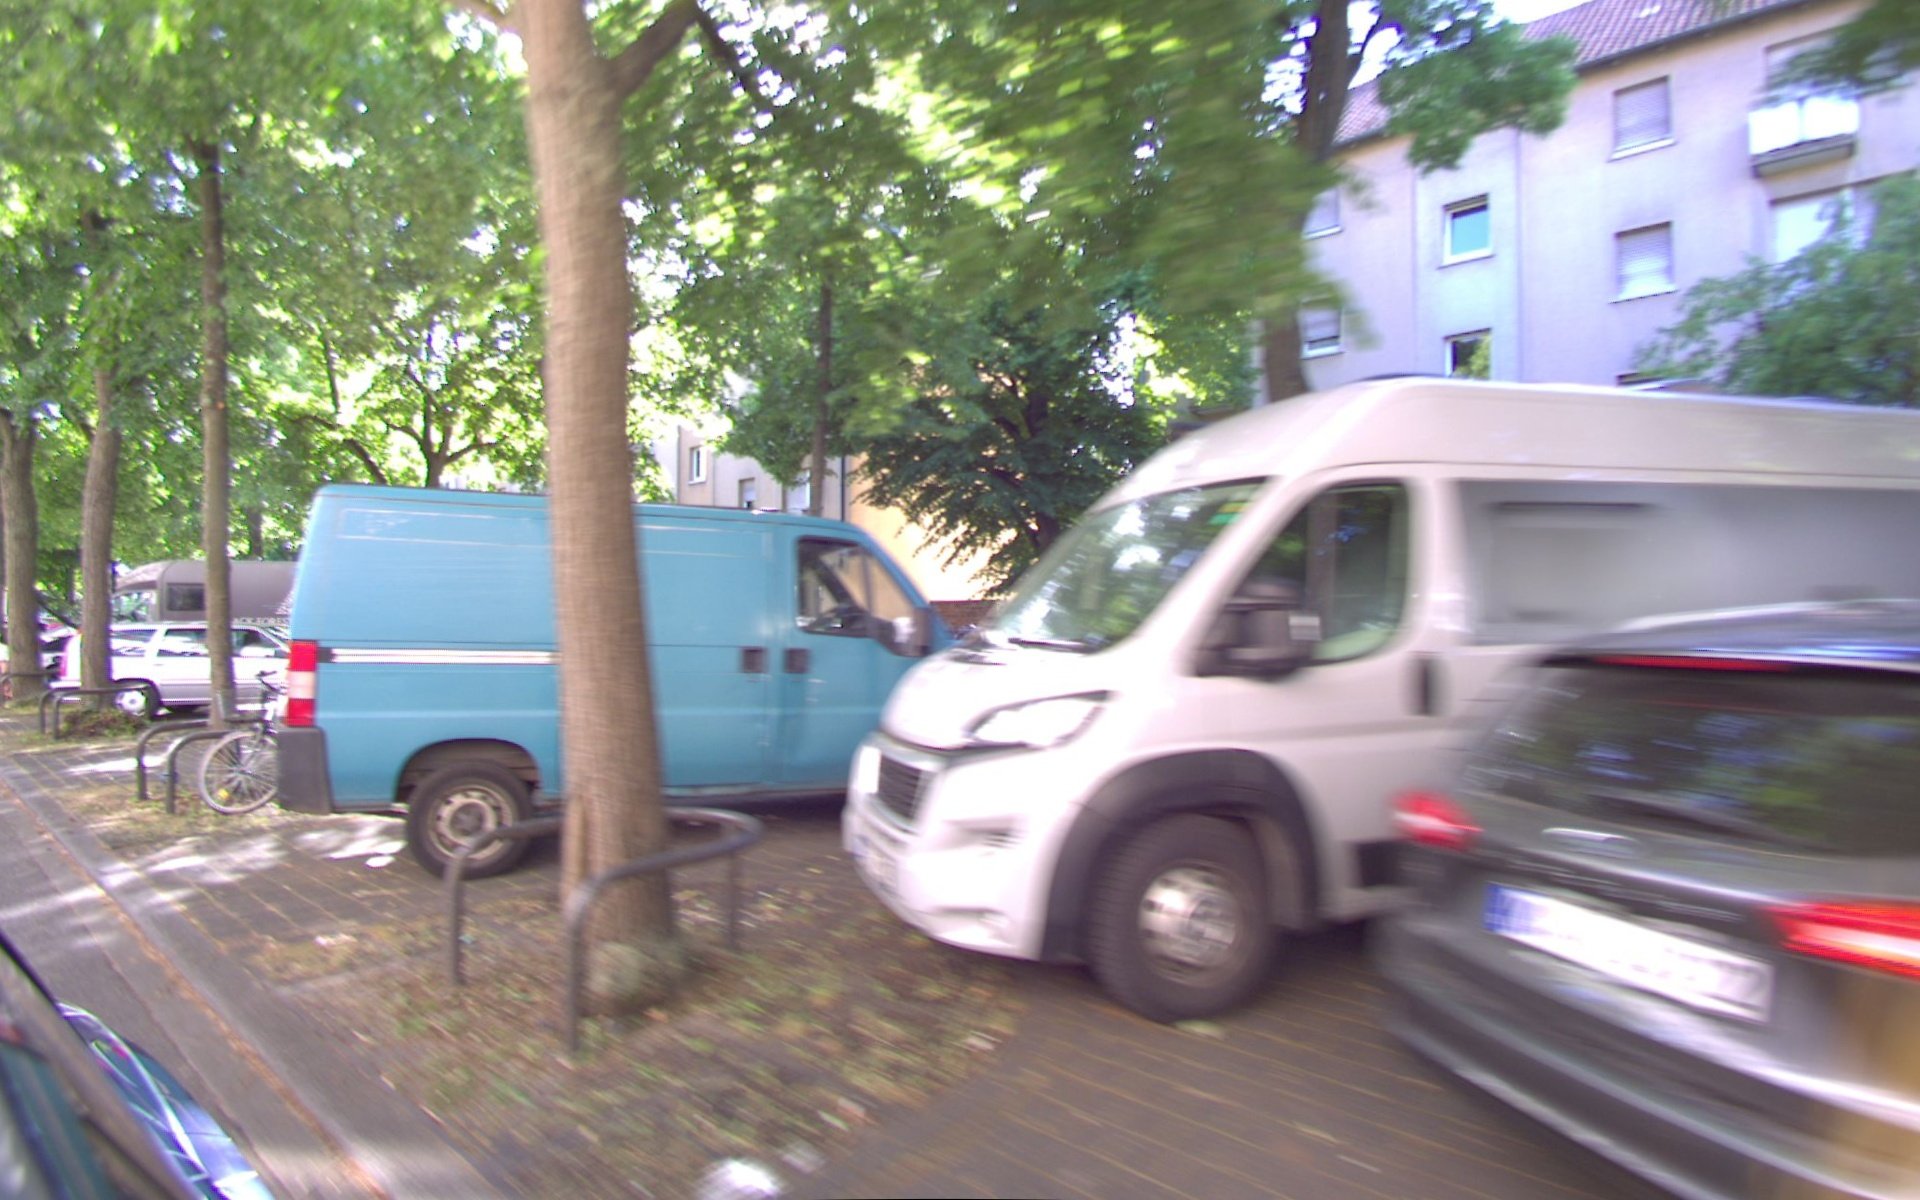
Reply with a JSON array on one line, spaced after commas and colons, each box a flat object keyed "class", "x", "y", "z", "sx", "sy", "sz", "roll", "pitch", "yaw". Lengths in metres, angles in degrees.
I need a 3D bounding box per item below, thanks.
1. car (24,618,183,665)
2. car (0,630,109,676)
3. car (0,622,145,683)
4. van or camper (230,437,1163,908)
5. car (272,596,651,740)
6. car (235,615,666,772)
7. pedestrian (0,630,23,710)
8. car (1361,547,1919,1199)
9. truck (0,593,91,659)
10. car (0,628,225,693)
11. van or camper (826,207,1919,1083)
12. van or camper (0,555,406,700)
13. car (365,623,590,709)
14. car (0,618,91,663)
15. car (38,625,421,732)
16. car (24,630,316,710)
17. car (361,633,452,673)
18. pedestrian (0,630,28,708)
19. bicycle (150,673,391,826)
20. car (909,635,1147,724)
[{"class": "car", "x": -35.129, "y": 1.707, "z": 41.659, "sx": 4.526, "sy": 1.846, "sz": 2.025, "roll": 1, "pitch": -2, "yaw": -19}, {"class": "car", "x": -31.744, "y": 1.782, "z": 34.104, "sx": 4.349, "sy": 1.473, "sz": 1.721, "roll": 0, "pitch": -1, "yaw": -15}, {"class": "car", "x": -26.811, "y": 1.523, "z": 29.748, "sx": 4.075, "sy": 1.692, "sz": 1.765, "roll": 0, "pitch": -2, "yaw": -19}, {"class": "van or camper", "x": -1.505, "y": 0.414, "z": 7.050, "sx": 5.420, "sy": 2.293, "sz": 2.228, "roll": 1, "pitch": -2, "yaw": -24}, {"class": "car", "x": -6.664, "y": 0.868, "z": 14.100, "sx": 4.482, "sy": 1.777, "sz": 1.816, "roll": 0, "pitch": -2, "yaw": -18}, {"class": "car", "x": -5.295, "y": 0.916, "z": 11.048, "sx": 3.888, "sy": 1.454, "sz": 1.852, "roll": 0, "pitch": -2, "yaw": -20}, {"class": "pedestrian", "x": -17.884, "y": 1.283, "z": 18.741, "sx": 0.606, "sy": 1.467, "sz": 0.521, "roll": 1, "pitch": -2, "yaw": -25}, {"class": "car", "x": 3.170, "y": 0.648, "z": 2.376, "sx": 3.897, "sy": 1.425, "sz": 1.829, "roll": 0, "pitch": -2, "yaw": -20}, {"class": "truck", "x": -49.792, "y": 1.353, "z": 52.102, "sx": 7.200, "sy": 3.319, "sz": 2.554, "roll": 0, "pitch": -2, "yaw": -16}, {"class": "car", "x": -20.948, "y": 1.468, "z": 25.169, "sx": 3.931, "sy": 1.519, "sz": 1.763, "roll": 1, "pitch": -2, "yaw": -19}, {"class": "van or camper", "x": 2.417, "y": 0.179, "z": 5.058, "sx": 5.786, "sy": 2.657, "sz": 2.262, "roll": 1, "pitch": -2, "yaw": -18}, {"class": "van or camper", "x": -16.787, "y": 0.624, "z": 22.923, "sx": 7.123, "sy": 2.952, "sz": 2.321, "roll": 1, "pitch": -2, "yaw": -21}, {"class": "car", "x": -8.602, "y": 1.146, "z": 18.370, "sx": 3.512, "sy": 1.435, "sz": 1.680, "roll": 0, "pitch": -2, "yaw": -19}, {"class": "car", "x": -40.308, "y": 1.719, "z": 43.178, "sx": 4.445, "sy": 1.879, "sz": 2.088, "roll": 0, "pitch": -1, "yaw": -23}, {"class": "car", "x": -10.881, "y": 1.121, "z": 15.449, "sx": 4.413, "sy": 1.454, "sz": 1.737, "roll": 0, "pitch": -2, "yaw": -15}, {"class": "car", "x": -15.481, "y": 1.332, "z": 20.120, "sx": 4.254, "sy": 1.435, "sz": 1.680, "roll": 0, "pitch": -2, "yaw": -21}, {"class": "car", "x": -21.437, "y": 2.007, "z": 39.119, "sx": 3.999, "sy": 1.428, "sz": 1.872, "roll": -2, "pitch": -2, "yaw": 42}, {"class": "pedestrian", "x": -18.347, "y": 1.306, "z": 19.273, "sx": 0.699, "sy": 1.467, "sz": 0.598, "roll": 1, "pitch": -2, "yaw": -25}, {"class": "bicycle", "x": -5.437, "y": 1.128, "z": 8.118, "sx": 0.506, "sy": 1.014, "sz": 1.718, "roll": -1, "pitch": -2, "yaw": 12}, {"class": "car", "x": 1.155, "y": 1.375, "z": 18.644, "sx": 4.295, "sy": 1.435, "sz": 1.646, "roll": -2, "pitch": -2, "yaw": 42}]
